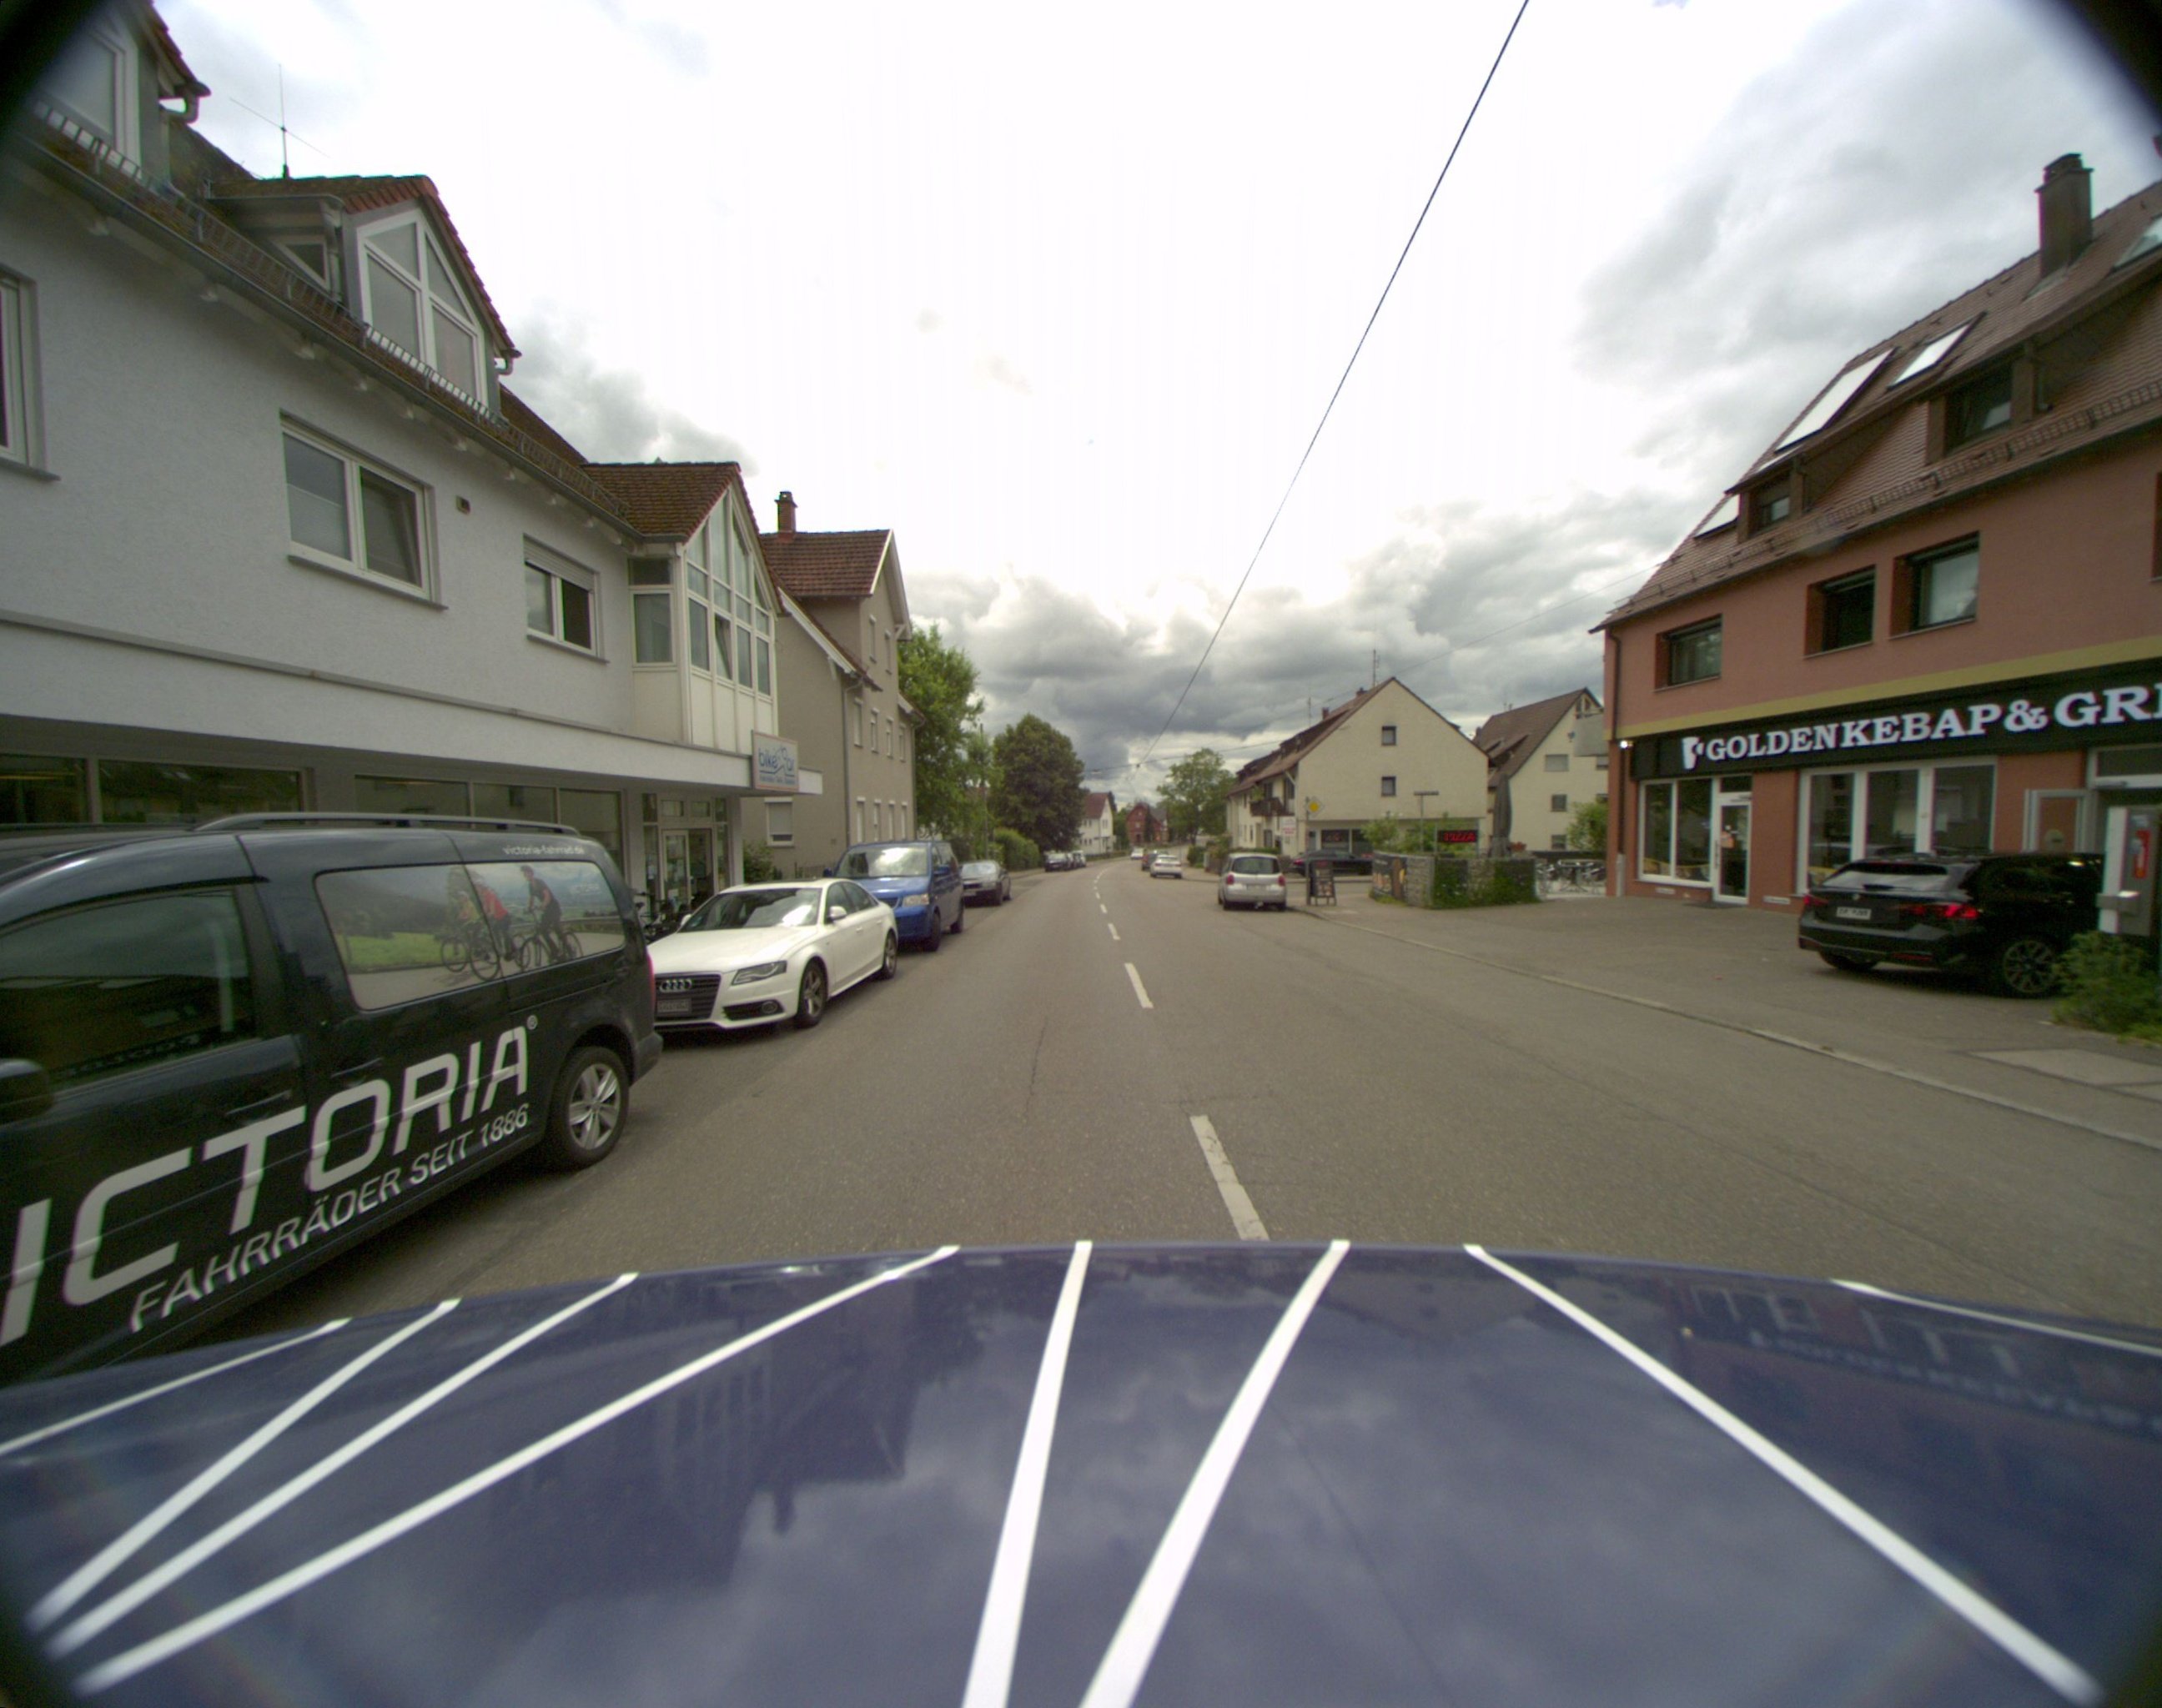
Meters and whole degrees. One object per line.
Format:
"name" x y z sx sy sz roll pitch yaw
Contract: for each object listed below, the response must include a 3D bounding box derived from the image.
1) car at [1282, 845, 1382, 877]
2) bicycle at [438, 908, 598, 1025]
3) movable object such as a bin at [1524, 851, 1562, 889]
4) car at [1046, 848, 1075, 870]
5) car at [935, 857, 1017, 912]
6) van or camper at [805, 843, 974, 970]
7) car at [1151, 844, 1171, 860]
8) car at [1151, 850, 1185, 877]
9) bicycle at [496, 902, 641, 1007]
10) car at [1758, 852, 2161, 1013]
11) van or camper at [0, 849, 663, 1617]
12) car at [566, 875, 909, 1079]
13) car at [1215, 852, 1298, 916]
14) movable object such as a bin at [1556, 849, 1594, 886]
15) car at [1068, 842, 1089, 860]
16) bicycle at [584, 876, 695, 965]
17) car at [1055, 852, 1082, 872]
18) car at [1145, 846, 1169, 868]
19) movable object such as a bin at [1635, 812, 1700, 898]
"car" 12.933 0.339 39.399 4.527 1.464 2.001 -2 1 5
"bicycle" -6.345 1.227 8.642 0.250 1.107 1.470 0 1 30
"movable object such as a bin" 14.079 0.481 23.180 0.572 1.103 0.977 -2 1 4
"car" -1.614 0.368 62.368 1.815 1.606 4.540 -3 1 5
"car" -3.400 0.929 25.590 1.998 1.509 4.890 -3 1 0
"van or camper" -3.341 0.805 14.314 1.931 1.914 4.830 -2 1 -1
"car" 9.205 -0.221 87.096 1.852 1.704 4.577 1 2 10
"car" 5.334 0.546 46.981 1.730 1.450 3.898 2 1 2
"bicycle" -6.291 1.192 9.403 0.339 1.107 1.470 0 1 30
"car" 10.341 0.745 8.188 4.240 1.464 1.999 0 2 1
"van or camper" -3.546 0.946 2.317 1.876 1.818 4.679 -3 0 0
"car" -3.349 1.080 8.579 1.718 1.427 4.638 -3 1 0
"car" 4.929 0.767 21.826 1.837 1.569 4.033 2 1 7
"movable object such as a bin" 15.213 0.418 23.400 0.571 1.103 0.977 -1 1 4
"car" -0.258 -0.317 80.935 1.842 1.764 4.318 -3 0 3
"bicycle" -6.137 0.886 10.650 0.339 1.107 1.469 0 1 19
"car" -1.081 0.683 68.711 1.998 1.606 4.540 -3 1 5
"car" 6.294 0.194 63.402 1.850 1.671 4.787 2 1 5
"movable object such as a bin" 17.409 0.026 22.625 1.281 2.443 1.641 -1 1 29
